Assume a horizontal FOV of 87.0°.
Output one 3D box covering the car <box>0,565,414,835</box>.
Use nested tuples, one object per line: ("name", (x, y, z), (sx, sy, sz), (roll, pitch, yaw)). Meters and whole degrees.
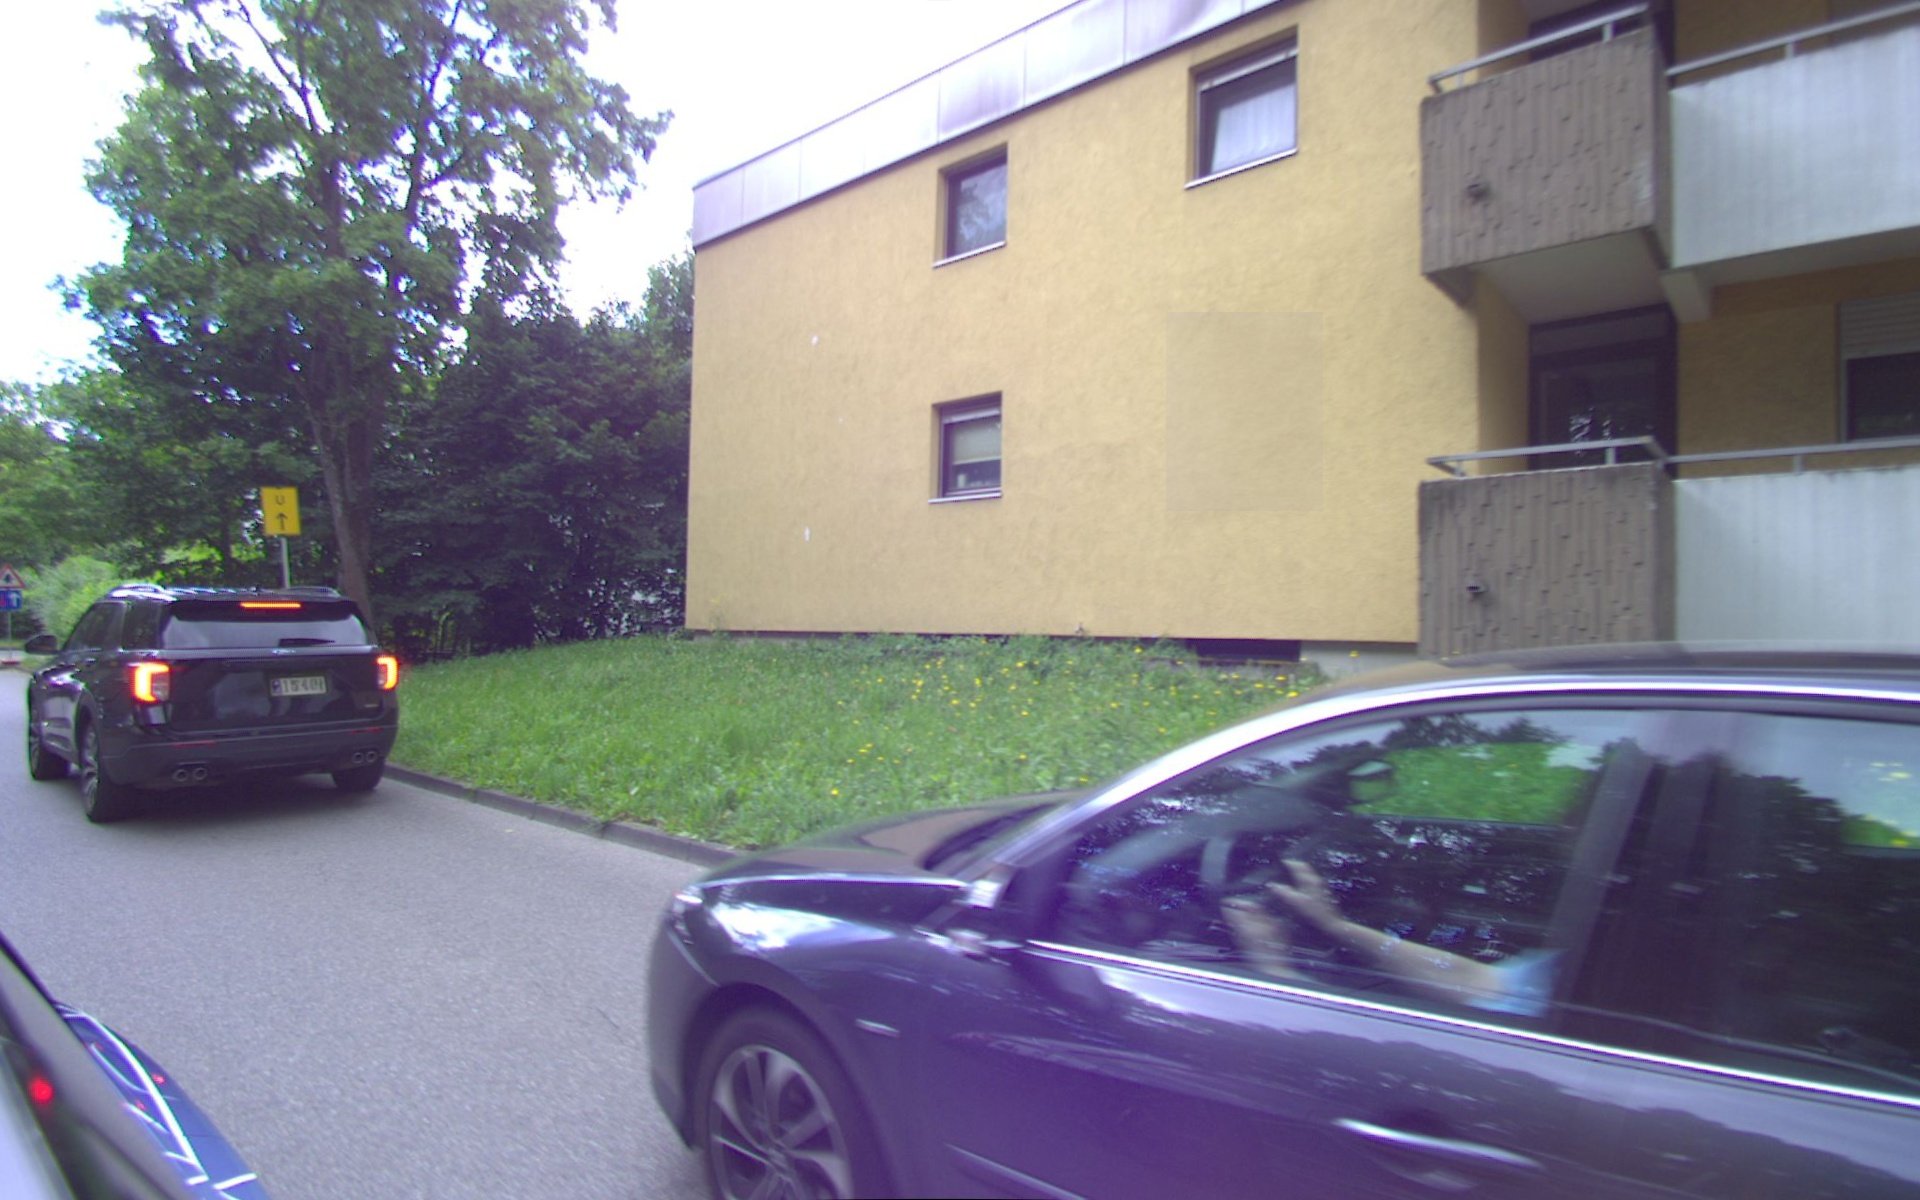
("car", (-6.806, 0.685, 8.890), (5.056, 1.730, 1.893), (-1, -2, 41))

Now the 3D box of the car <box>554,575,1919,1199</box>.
("car", (1.274, 0.709, 1.797), (4.421, 1.422, 1.893), (-1, -2, 41))
